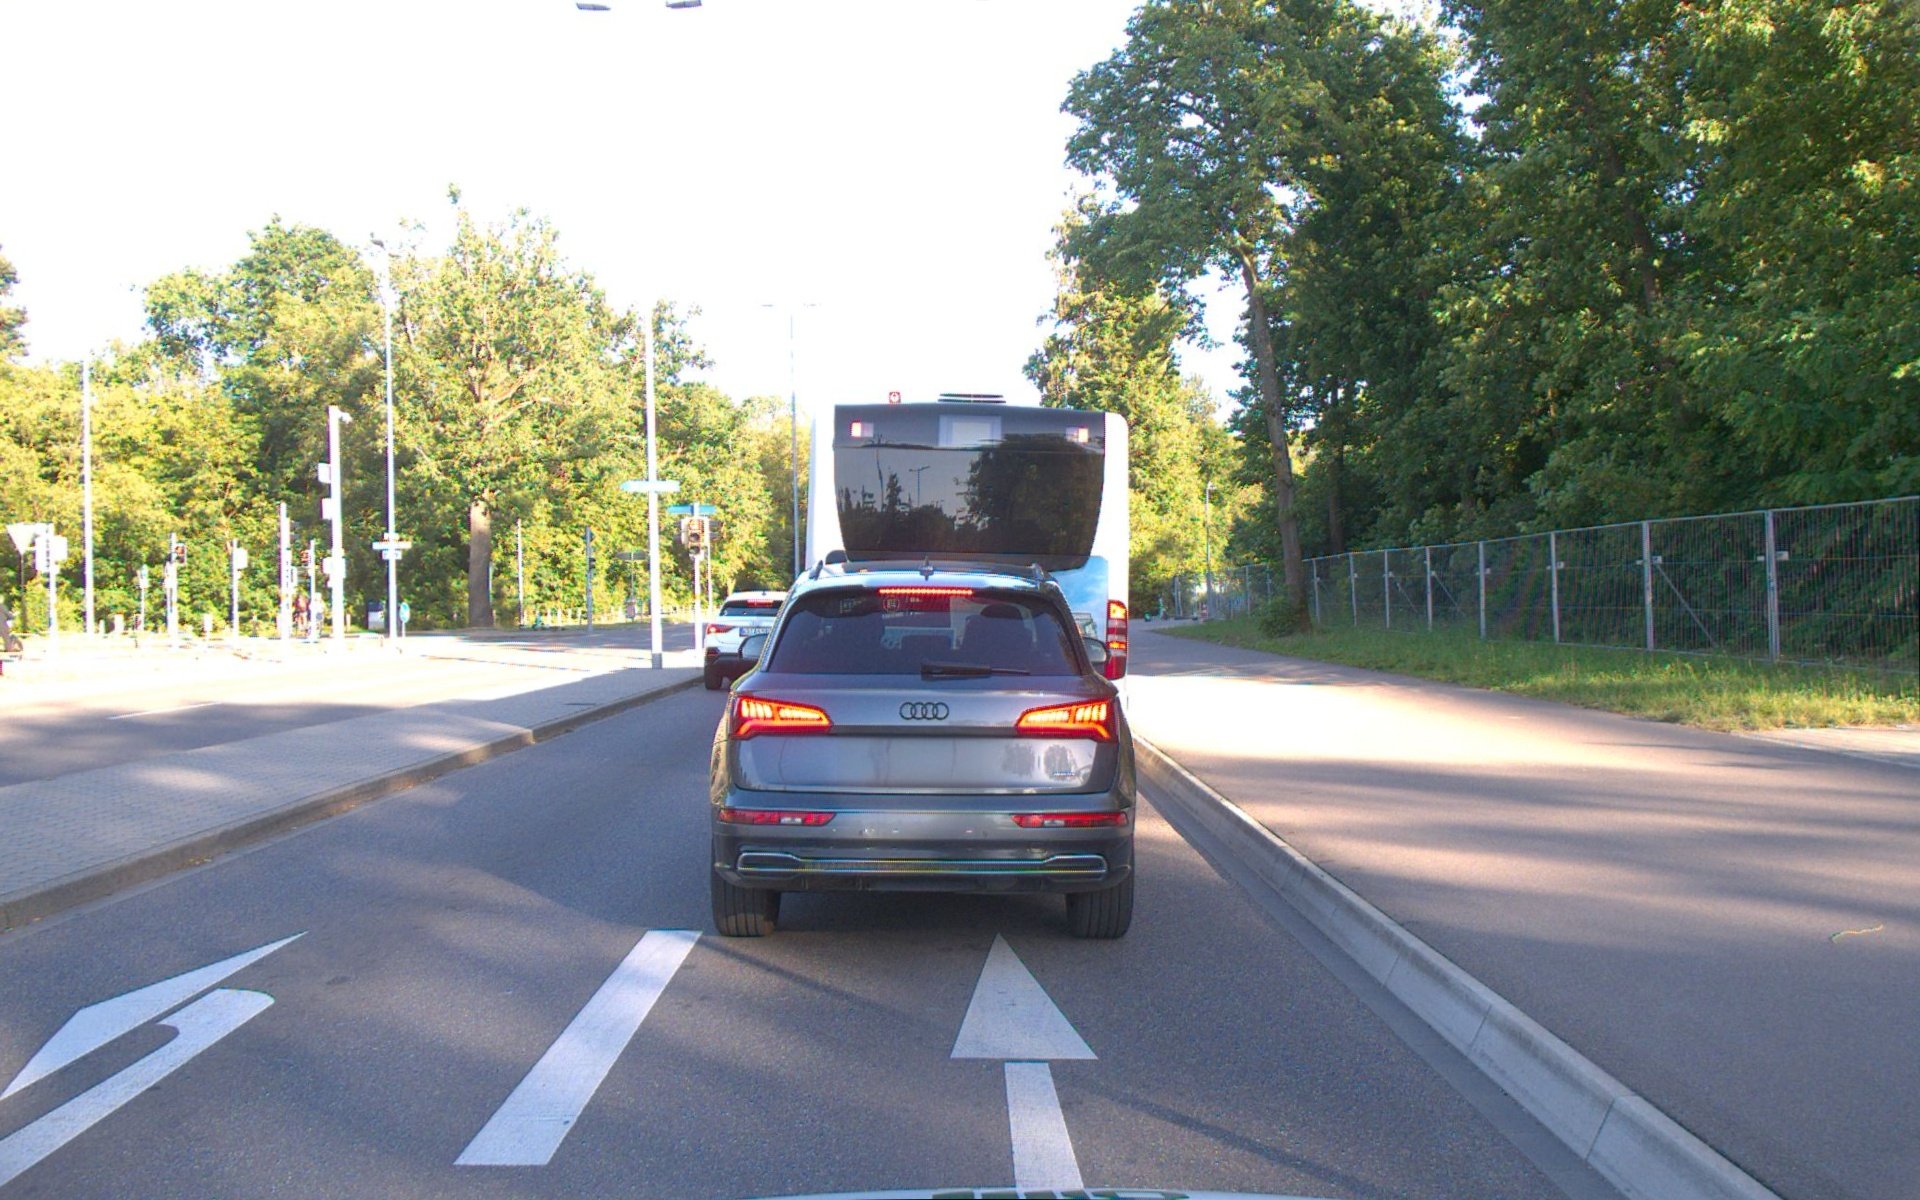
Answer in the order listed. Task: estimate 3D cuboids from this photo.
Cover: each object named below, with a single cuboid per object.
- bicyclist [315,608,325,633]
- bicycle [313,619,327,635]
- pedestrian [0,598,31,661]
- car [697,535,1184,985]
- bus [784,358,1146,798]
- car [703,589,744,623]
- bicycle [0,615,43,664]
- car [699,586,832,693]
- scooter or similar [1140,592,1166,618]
[{"bbox_3d":[-24.718,0.789,63.879,0.268,0.979,0.240,1,-1,-6],"label":"bicyclist"},{"bbox_3d":[-24.722,1.034,63.876,0.261,0.592,0.838,1,0,-6],"label":"bicycle"},{"bbox_3d":[-24.128,0.740,42.176,0.472,1.589,0.648,1,-1,-1],"label":"pedestrian"},{"bbox_3d":[-0.100,0.587,8.314,1.830,1.693,4.000,1,1,-1],"label":"car"},{"bbox_3d":[0.059,-0.201,15.140,2.623,3.196,5.882,1,1,0],"label":"bus"},{"bbox_3d":[-12.346,0.312,86.566,1.955,1.691,3.995,-2,0,-6],"label":"car"},{"bbox_3d":[-24.140,0.993,42.136,0.458,1.198,2.003,1,0,-1],"label":"bicycle"},{"bbox_3d":[-3.156,0.592,27.474,1.771,1.599,4.000,1,1,-1],"label":"car"},{"bbox_3d":[9.134,0.239,78.139,1.158,1.195,0.659,1,0,11],"label":"scooter or similar"}]
